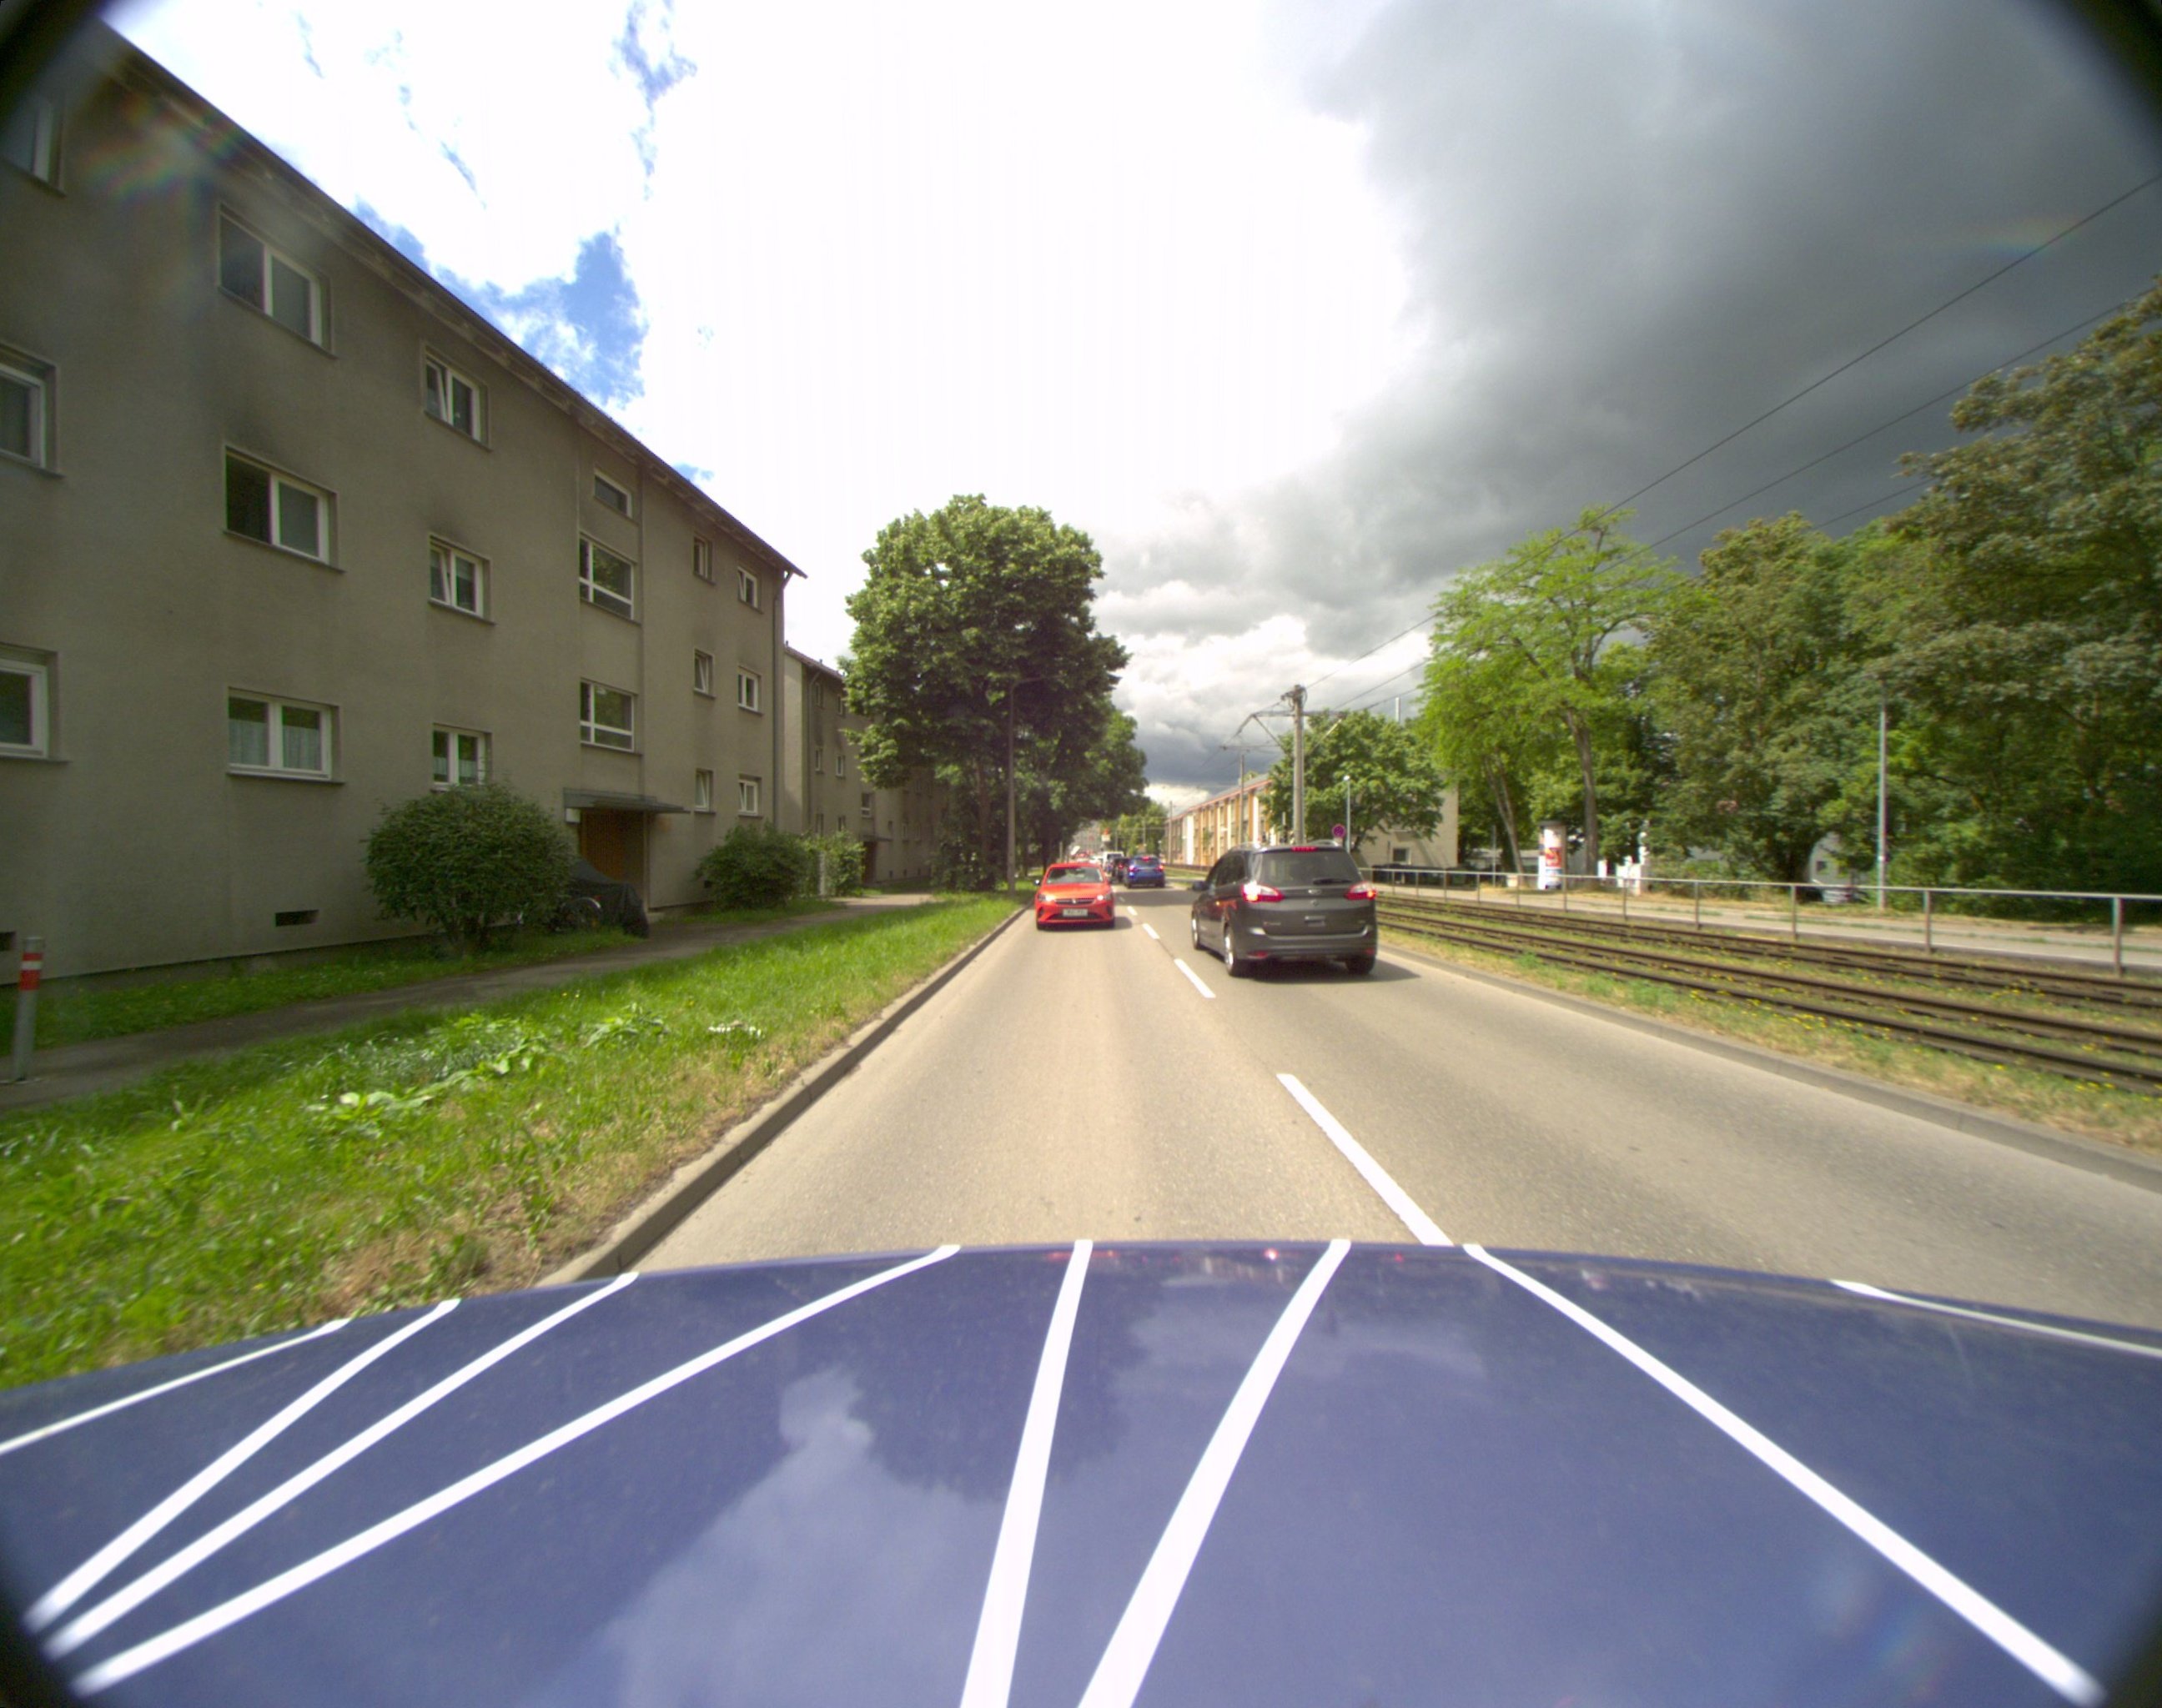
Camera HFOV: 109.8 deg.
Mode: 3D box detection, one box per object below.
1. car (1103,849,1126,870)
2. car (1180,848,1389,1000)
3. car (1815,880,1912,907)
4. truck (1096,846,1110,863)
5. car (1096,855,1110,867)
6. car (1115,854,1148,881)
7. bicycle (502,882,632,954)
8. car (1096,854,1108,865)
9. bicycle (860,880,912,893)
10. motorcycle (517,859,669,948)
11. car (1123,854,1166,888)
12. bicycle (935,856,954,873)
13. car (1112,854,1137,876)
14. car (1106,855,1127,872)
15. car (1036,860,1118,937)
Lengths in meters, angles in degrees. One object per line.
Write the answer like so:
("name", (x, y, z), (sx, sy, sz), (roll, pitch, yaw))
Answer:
("car", (3.283, 0.573, 75.867), (1.999, 1.984, 4.785), (-1, 0, -1))
("car", (2.589, 0.782, 10.733), (1.712, 1.666, 4.227), (-2, 0, -1))
("car", (47.733, 2.390, 46.407), (3.997, 1.480, 1.853), (0, 1, -1))
("truck", (3.780, 0.095, 131.589), (2.096, 2.723, 5.096), (-2, 1, -2))
("car", (2.900, 0.862, 99.447), (1.666, 1.512, 3.678), (-2, 0, 0))
("car", (3.122, 0.817, 47.459), (1.721, 1.535, 4.000), (-2, 0, 0))
("bicycle", (-8.086, 0.992, 11.971), (1.801, 1.078, 0.455), (0, 1, 5))
("car", (3.162, 0.849, 114.125), (1.666, 1.512, 3.786), (-2, 0, 0))
("bicycle", (-8.788, 1.477, 34.279), (2.208, 0.505, 0.673), (-2, 1, 11))
("motorcycle", (-8.192, 0.795, 12.803), (2.000, 1.421, 1.018), (0, 1, 11))
("car", (3.058, 0.793, 37.449), (1.717, 1.557, 4.166), (-2, 0, 0))
("bicycle", (-8.637, 0.645, 47.966), (0.437, 1.074, 1.749), (-3, 1, -35))
("car", (3.235, 0.822, 56.972), (1.641, 1.524, 3.274), (-2, 0, -1))
("car", (3.145, 0.818, 67.491), (1.585, 1.477, 3.806), (-2, 0, -1))
("car", (-0.082, 0.944, 17.657), (1.666, 1.513, 3.786), (-1, 0, 0))
